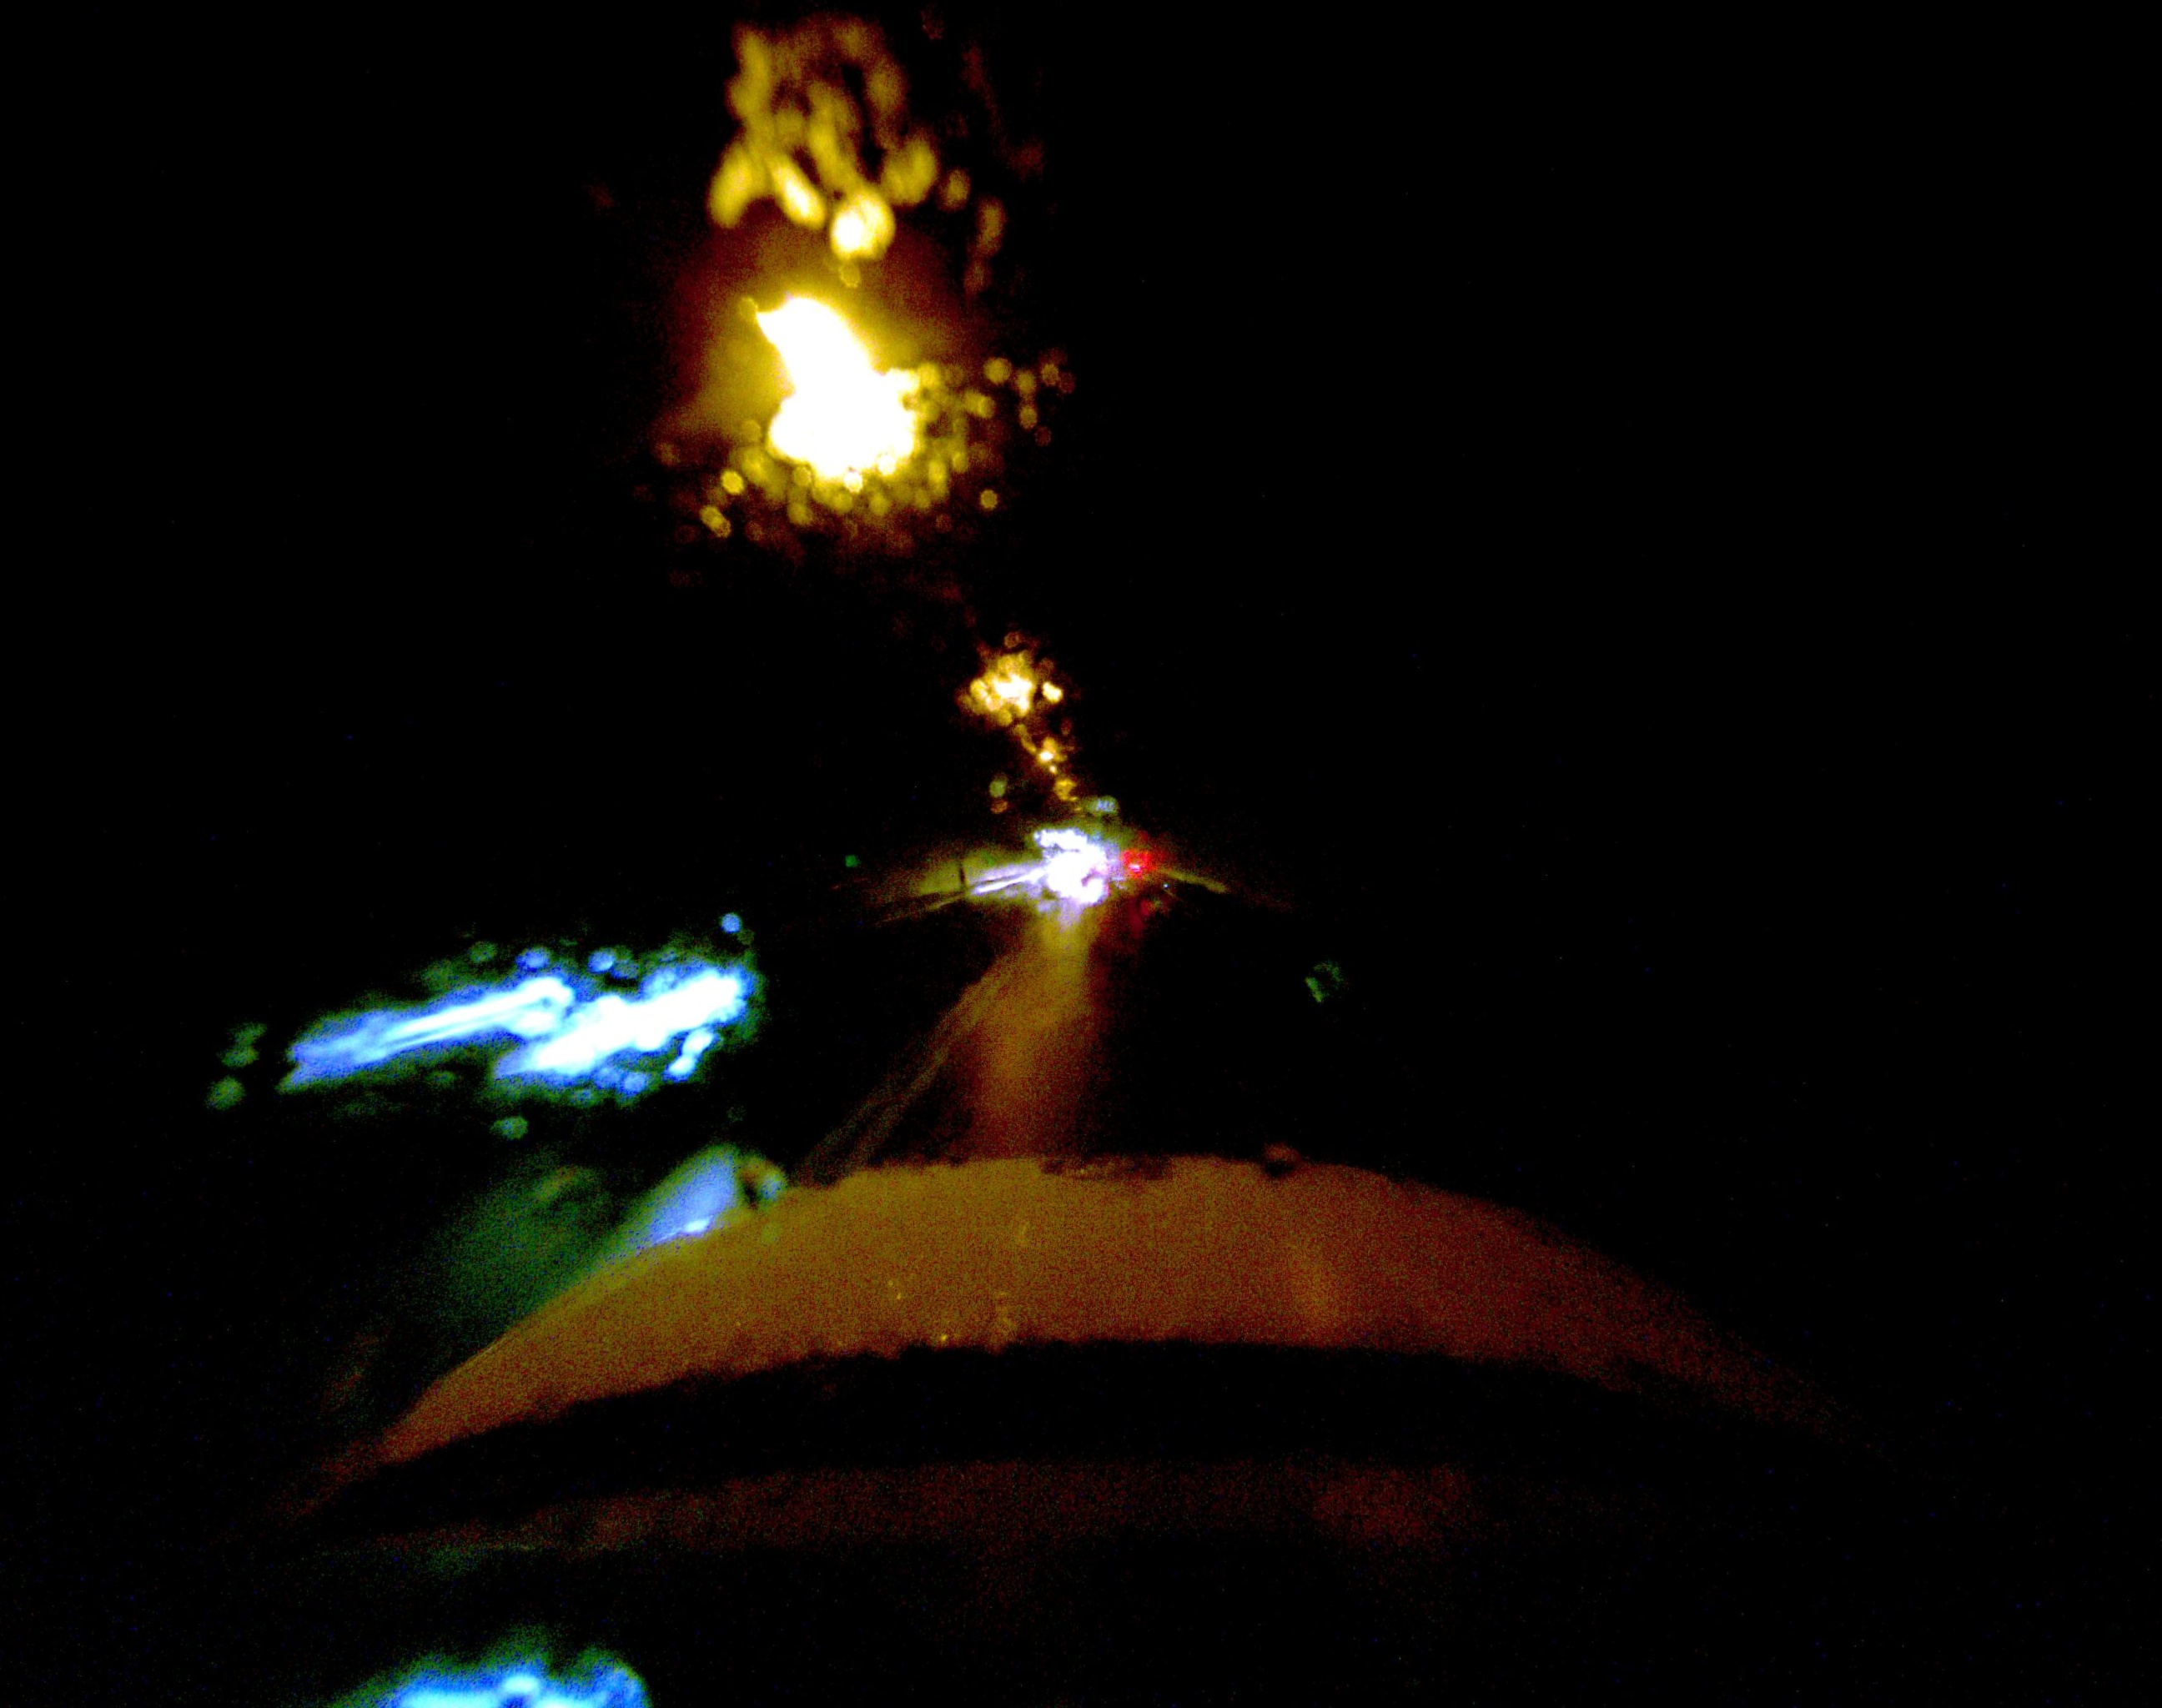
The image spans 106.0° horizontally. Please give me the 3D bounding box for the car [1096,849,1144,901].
[{"bbox_3d":[1.438,0.741,30.653,1.629,1.757,4.148,-2,0,2],"label":"car"}]

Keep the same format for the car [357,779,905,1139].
[{"bbox_3d":[-2.941,0.554,6.718,1.754,1.899,4.611,-2,0,2],"label":"car"}]

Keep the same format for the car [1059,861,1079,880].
[{"bbox_3d":[-1.071,1.514,75.655,1.629,1.535,3.648,-2,0,2],"label":"car"}]
